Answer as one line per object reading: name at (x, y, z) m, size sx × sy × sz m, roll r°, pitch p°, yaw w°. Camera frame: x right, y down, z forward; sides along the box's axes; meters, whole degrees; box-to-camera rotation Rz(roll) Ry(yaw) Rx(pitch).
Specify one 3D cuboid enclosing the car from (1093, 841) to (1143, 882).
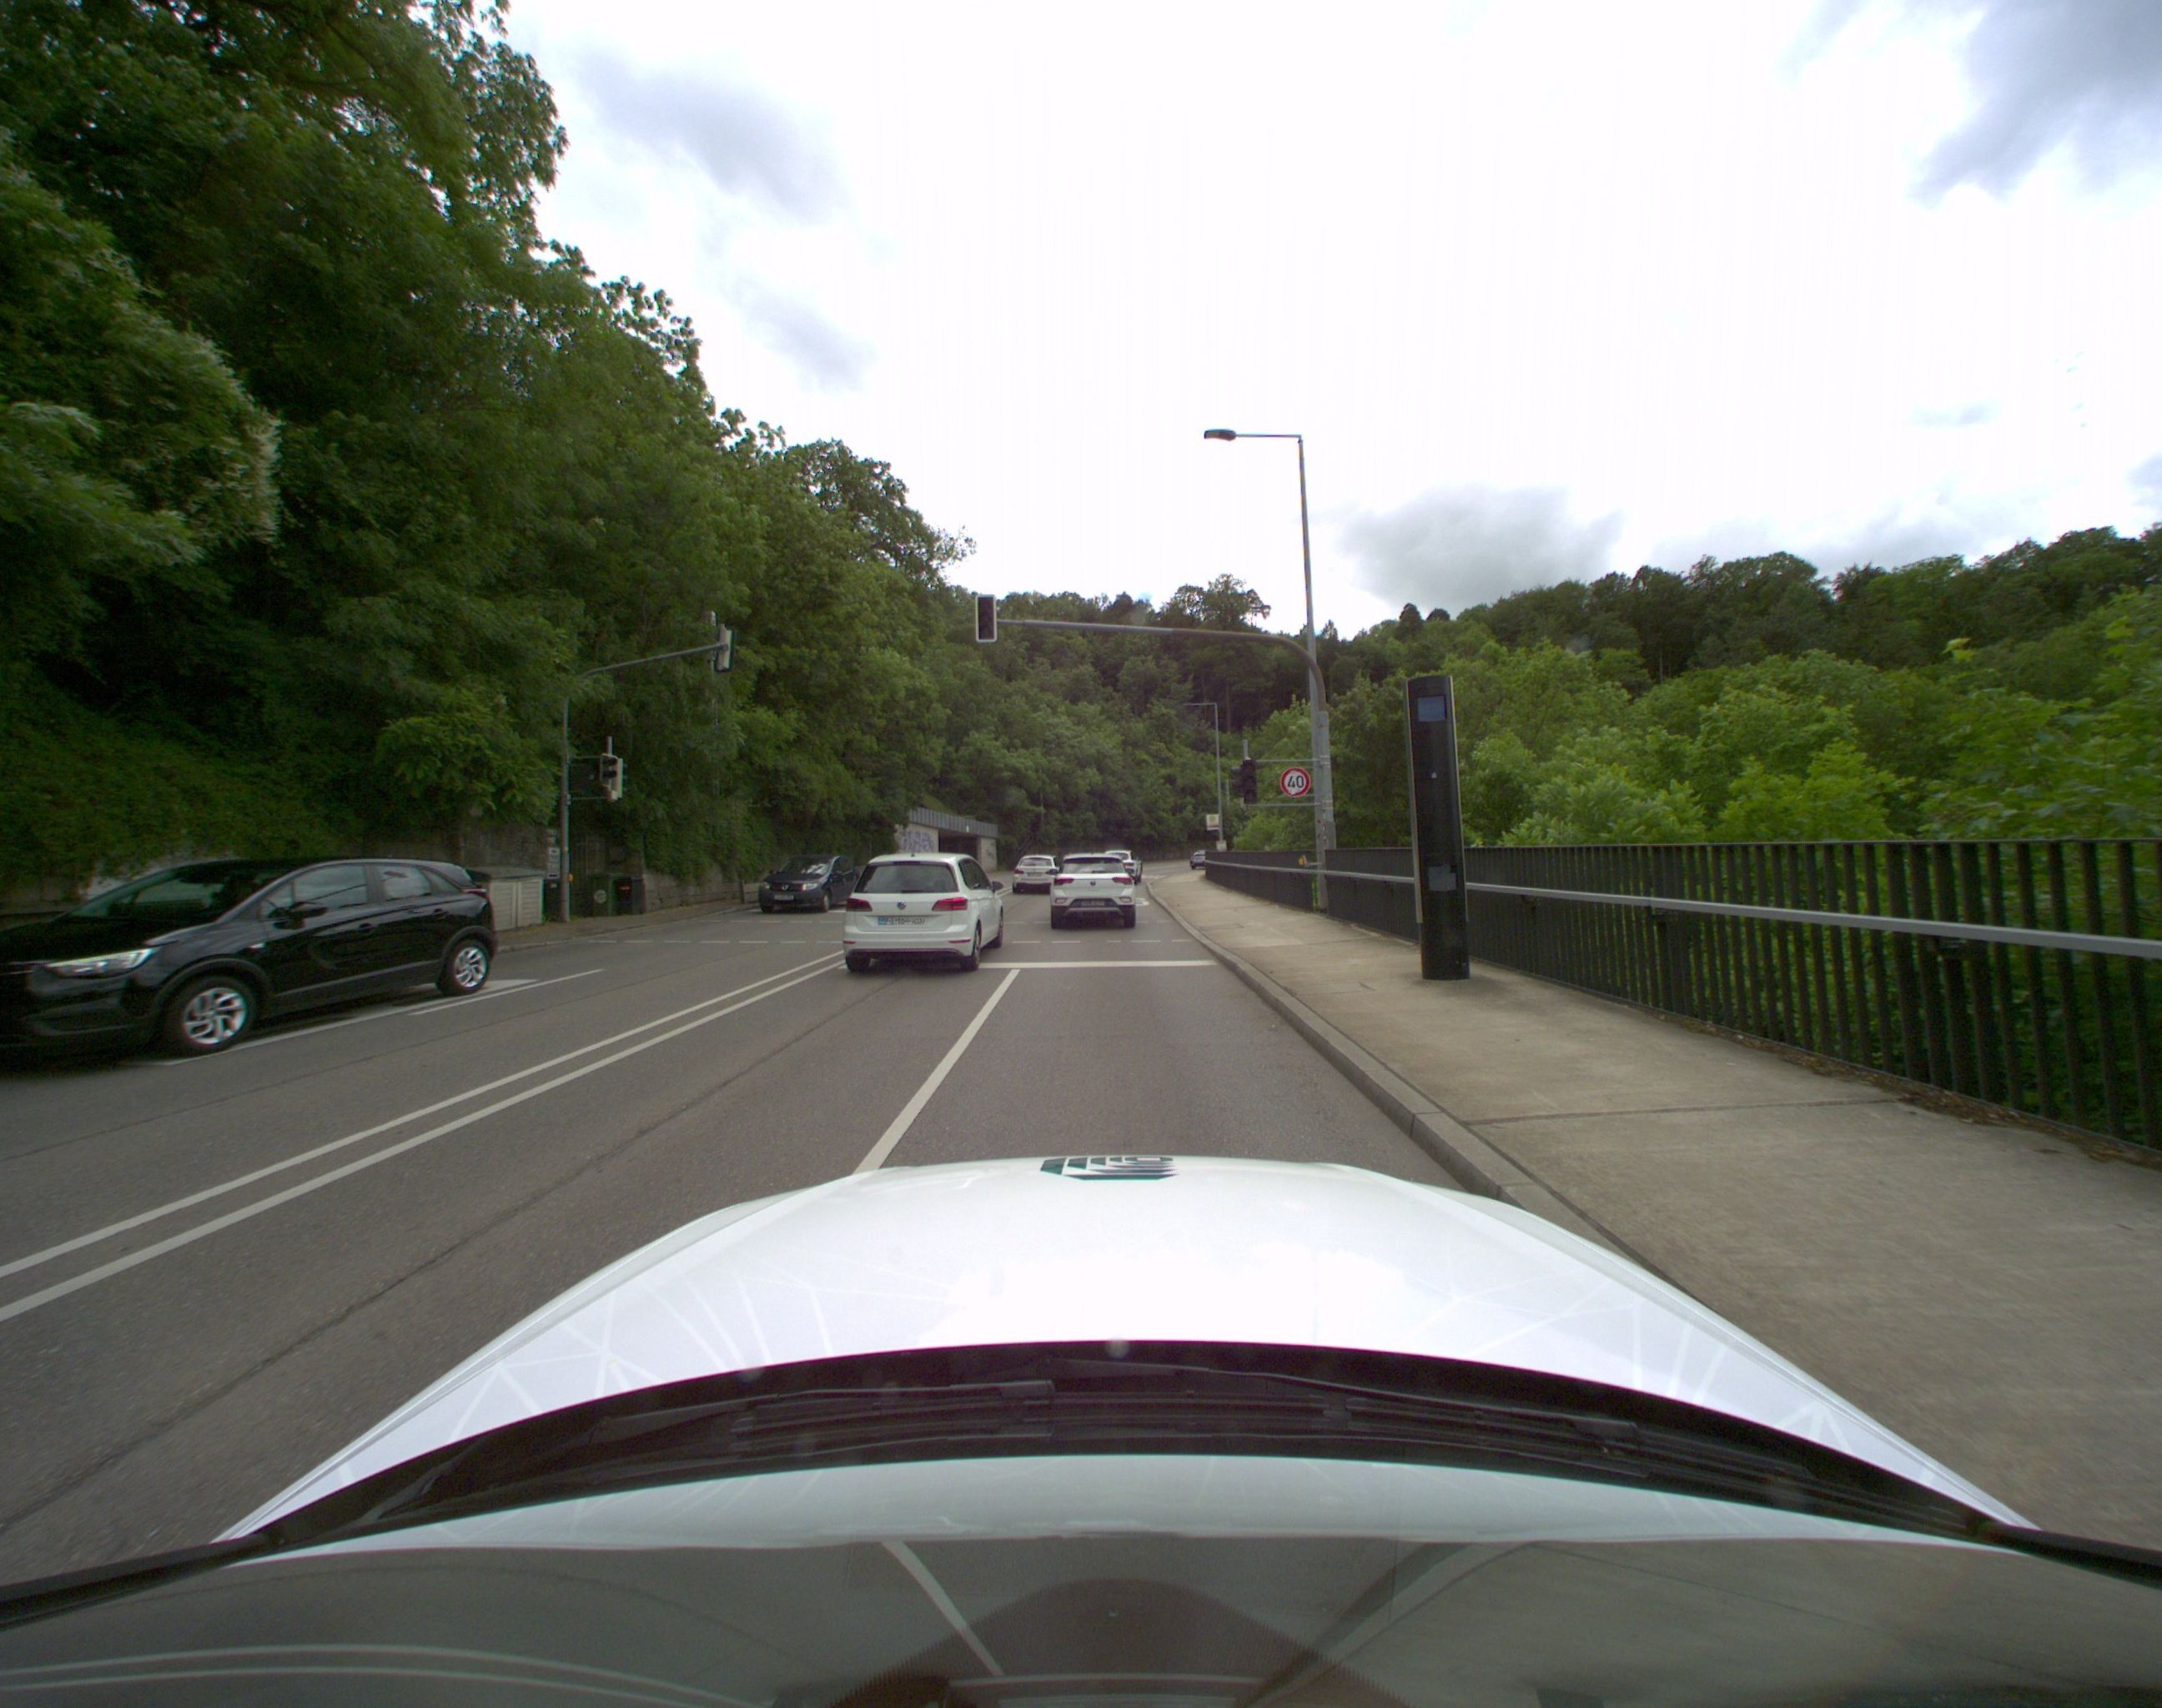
car at (1.861, 0.351, 39.564) m, size 1.982 × 1.843 × 4.160 m, roll 1°, pitch 0°, yaw 9°

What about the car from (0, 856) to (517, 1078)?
car at (-7.843, 0.805, 7.854) m, size 1.775 × 1.482 × 4.213 m, roll 1°, pitch 1°, yaw 2°

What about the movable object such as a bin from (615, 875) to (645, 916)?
movable object such as a bin at (-10.828, 0.986, 19.548) m, size 0.426 × 0.950 × 0.479 m, roll 1°, pitch 0°, yaw 0°

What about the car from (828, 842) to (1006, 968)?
car at (-2.232, 0.627, 12.245) m, size 1.714 × 1.554 × 4.276 m, roll -1°, pitch 0°, yaw 1°

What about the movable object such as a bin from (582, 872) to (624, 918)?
movable object such as a bin at (-11.412, 0.976, 19.444) m, size 0.639 × 1.067 × 0.557 m, roll 1°, pitch 0°, yaw 0°

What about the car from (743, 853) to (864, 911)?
car at (-7.518, 0.698, 22.552) m, size 1.806 × 1.434 × 4.249 m, roll 1°, pitch 0°, yaw 1°

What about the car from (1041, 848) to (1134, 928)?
car at (0.255, 0.685, 18.181) m, size 1.806 × 1.539 × 4.012 m, roll -2°, pitch 0°, yaw 4°

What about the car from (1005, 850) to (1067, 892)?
car at (-1.685, 0.610, 32.050) m, size 1.985 × 1.557 × 4.684 m, roll 0°, pitch 0°, yaw 3°

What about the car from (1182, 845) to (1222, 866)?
car at (9.244, 0.108, 61.999) m, size 2.014 × 1.519 × 4.223 m, roll 1°, pitch 0°, yaw 22°

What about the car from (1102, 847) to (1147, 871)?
car at (2.983, 0.342, 54.889) m, size 1.726 × 1.519 × 4.331 m, roll 1°, pitch 0°, yaw 21°
